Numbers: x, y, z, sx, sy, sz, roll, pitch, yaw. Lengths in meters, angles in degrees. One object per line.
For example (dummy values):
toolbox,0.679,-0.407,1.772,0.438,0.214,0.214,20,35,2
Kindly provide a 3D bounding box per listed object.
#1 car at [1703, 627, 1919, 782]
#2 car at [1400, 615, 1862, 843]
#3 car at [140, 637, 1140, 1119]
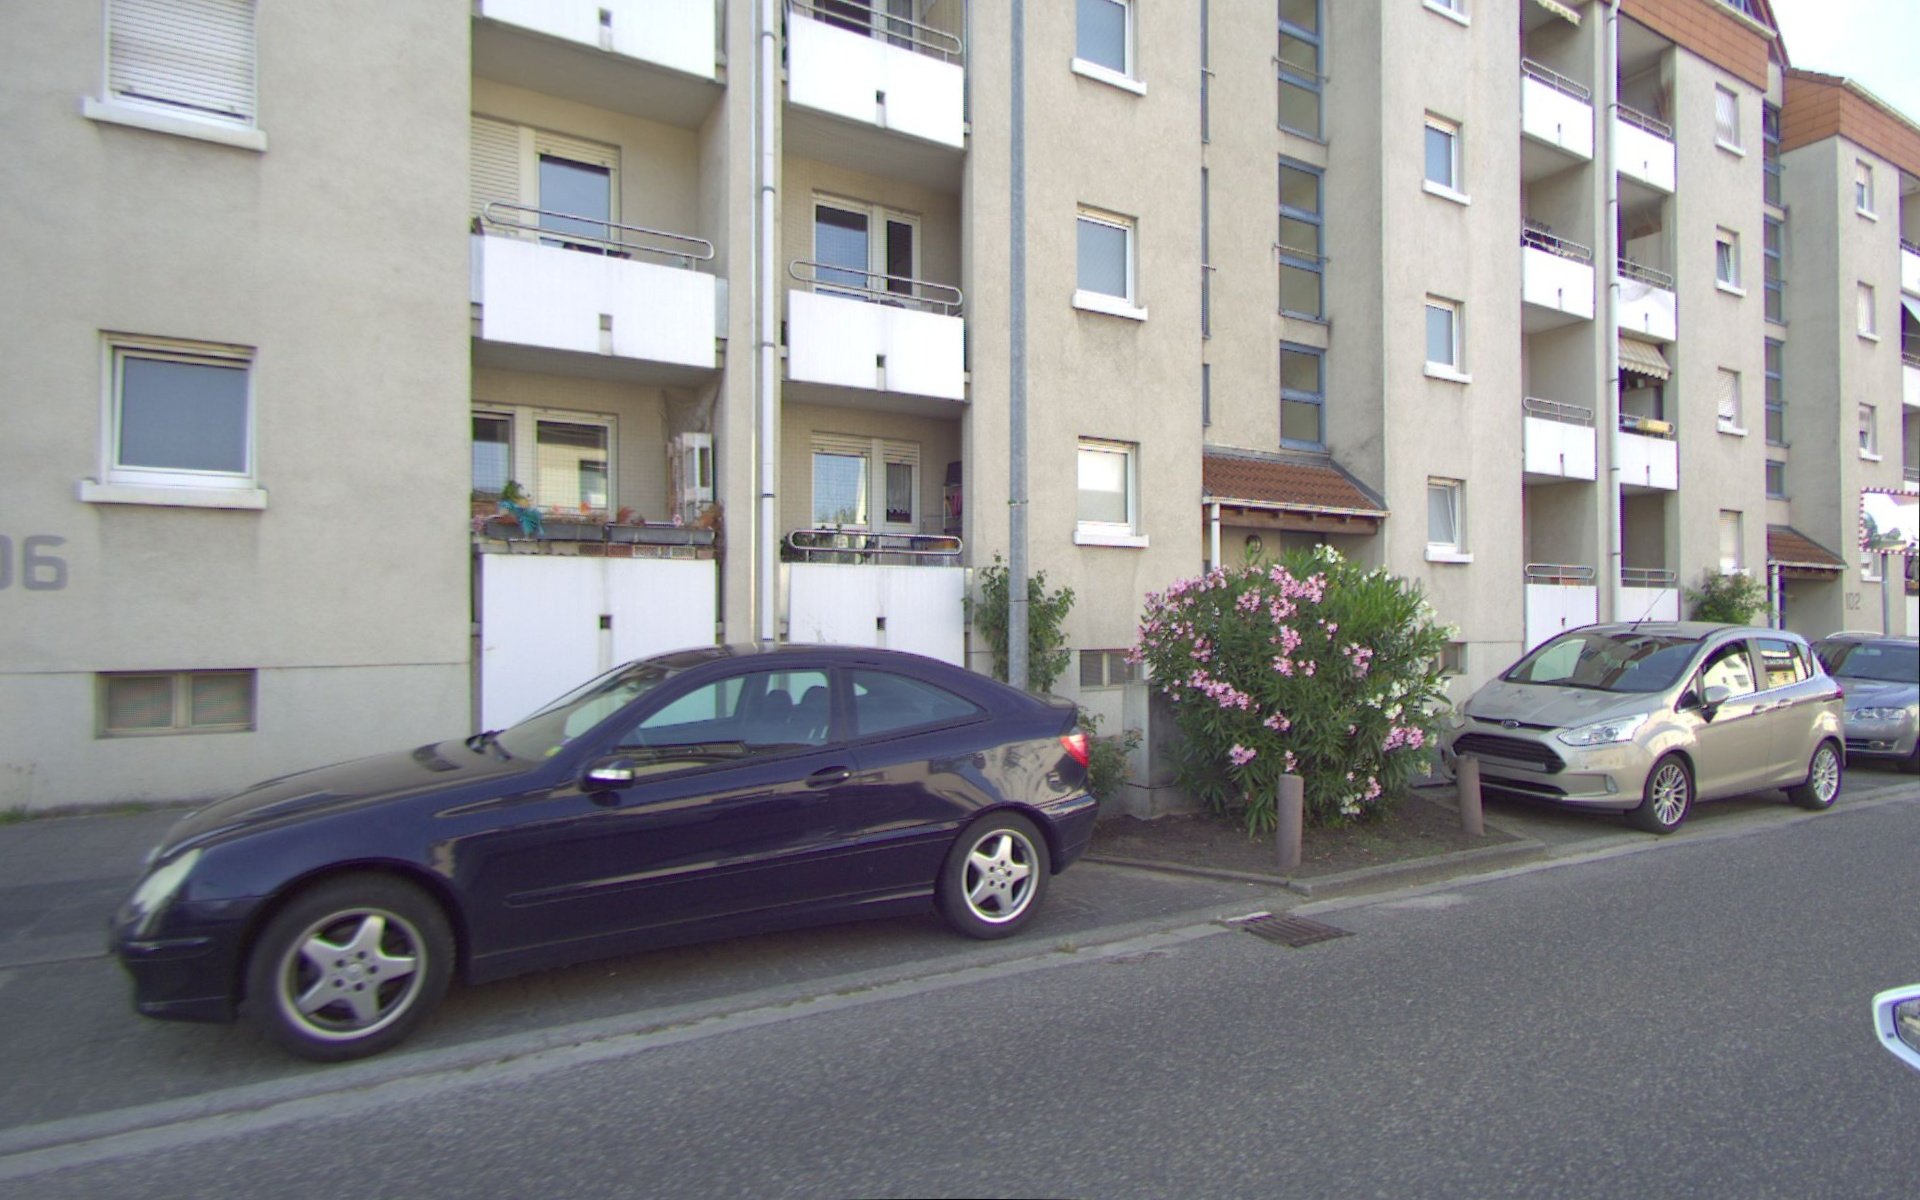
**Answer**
car,10.970,1.109,12.078,4.320,1.541,1.798,1,-1,-31
car,5.900,0.953,8.772,3.915,1.576,1.720,1,0,-28
car,-1.222,0.929,4.883,4.036,1.424,1.678,1,-1,-31
